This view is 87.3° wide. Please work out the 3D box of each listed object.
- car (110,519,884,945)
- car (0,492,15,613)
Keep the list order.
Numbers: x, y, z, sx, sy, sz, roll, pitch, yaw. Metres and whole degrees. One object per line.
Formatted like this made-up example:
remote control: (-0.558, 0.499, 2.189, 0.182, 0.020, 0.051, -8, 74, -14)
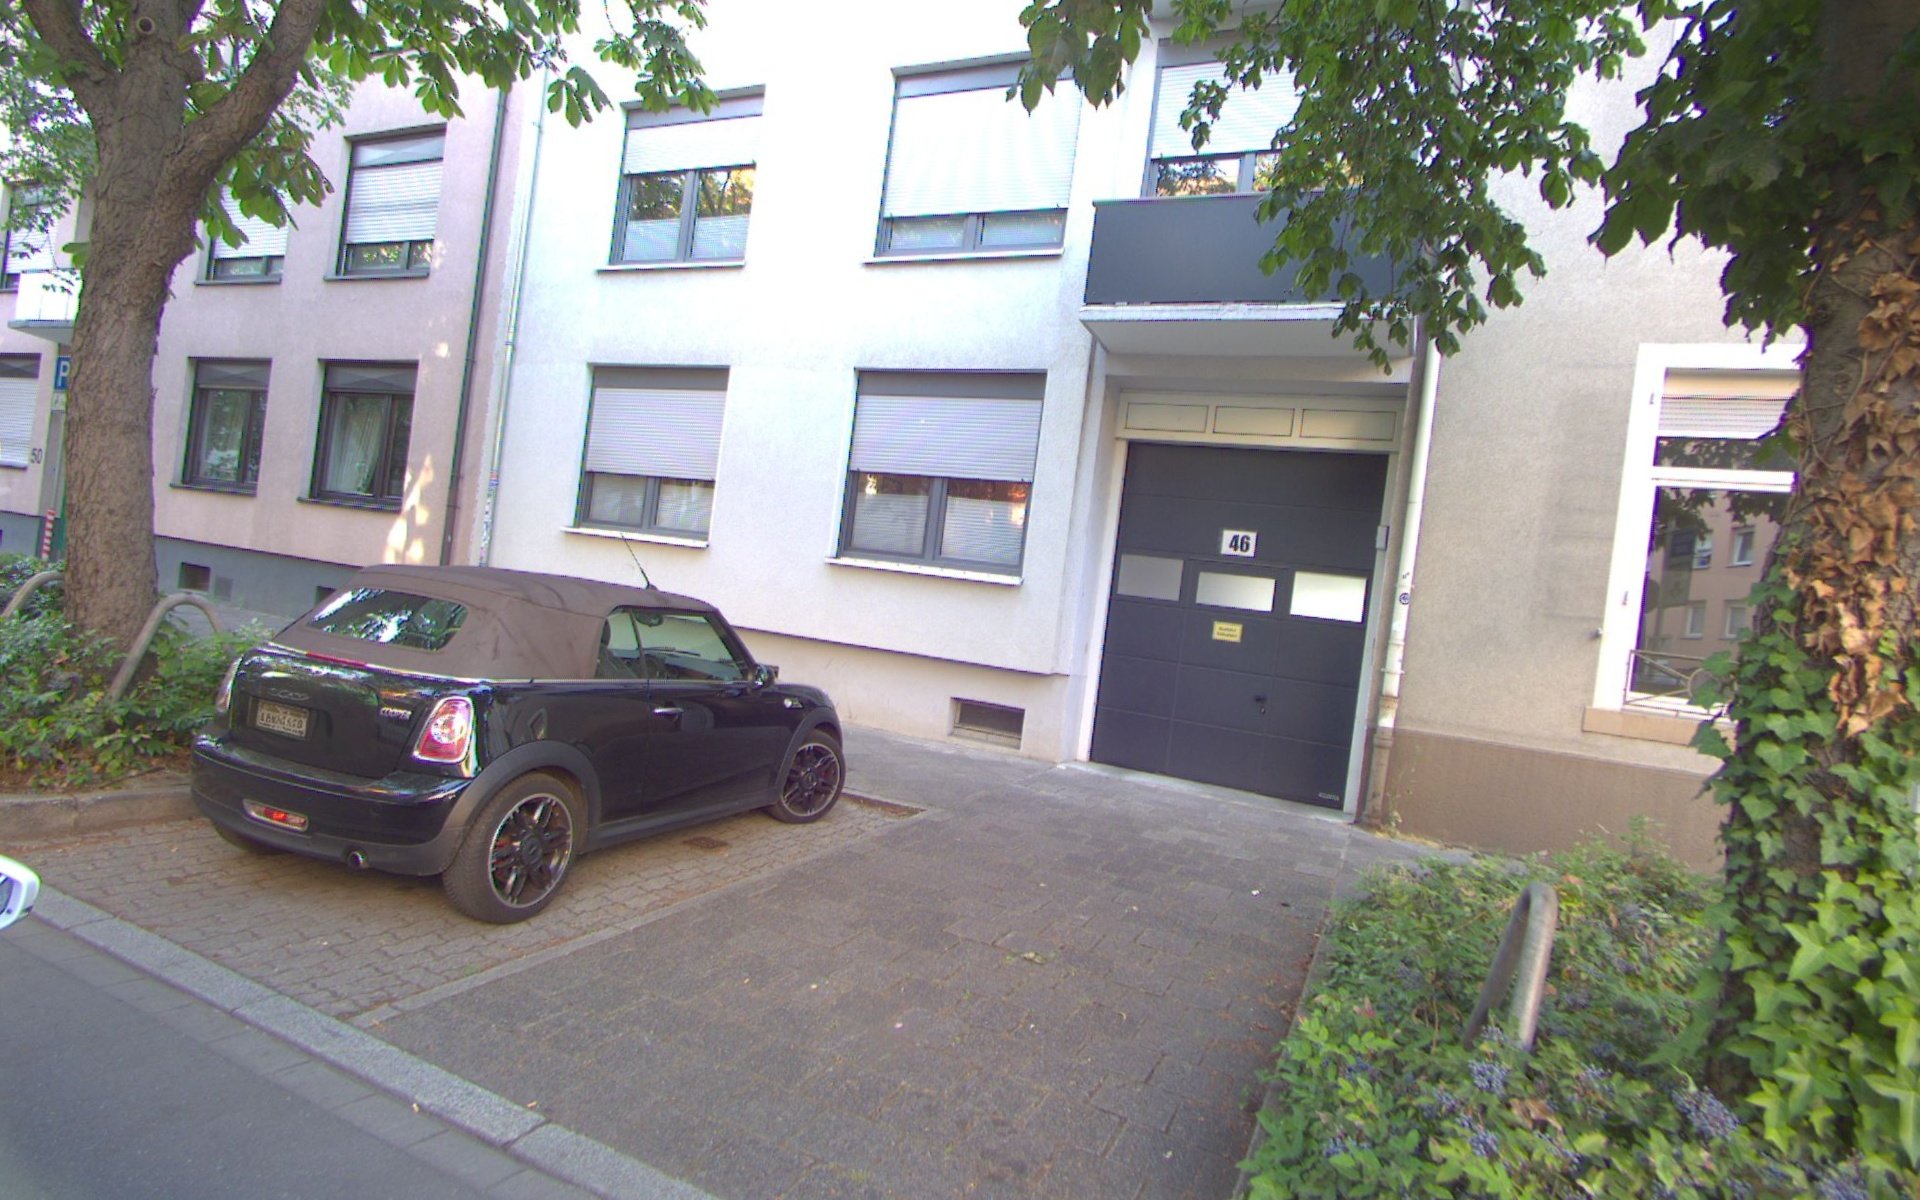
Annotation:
car: (-2.022, 0.555, 5.531, 1.634, 1.380, 3.622, 7, -1, 22)
car: (-13.351, -0.798, 11.046, 1.634, 1.494, 3.921, 7, -1, 24)
